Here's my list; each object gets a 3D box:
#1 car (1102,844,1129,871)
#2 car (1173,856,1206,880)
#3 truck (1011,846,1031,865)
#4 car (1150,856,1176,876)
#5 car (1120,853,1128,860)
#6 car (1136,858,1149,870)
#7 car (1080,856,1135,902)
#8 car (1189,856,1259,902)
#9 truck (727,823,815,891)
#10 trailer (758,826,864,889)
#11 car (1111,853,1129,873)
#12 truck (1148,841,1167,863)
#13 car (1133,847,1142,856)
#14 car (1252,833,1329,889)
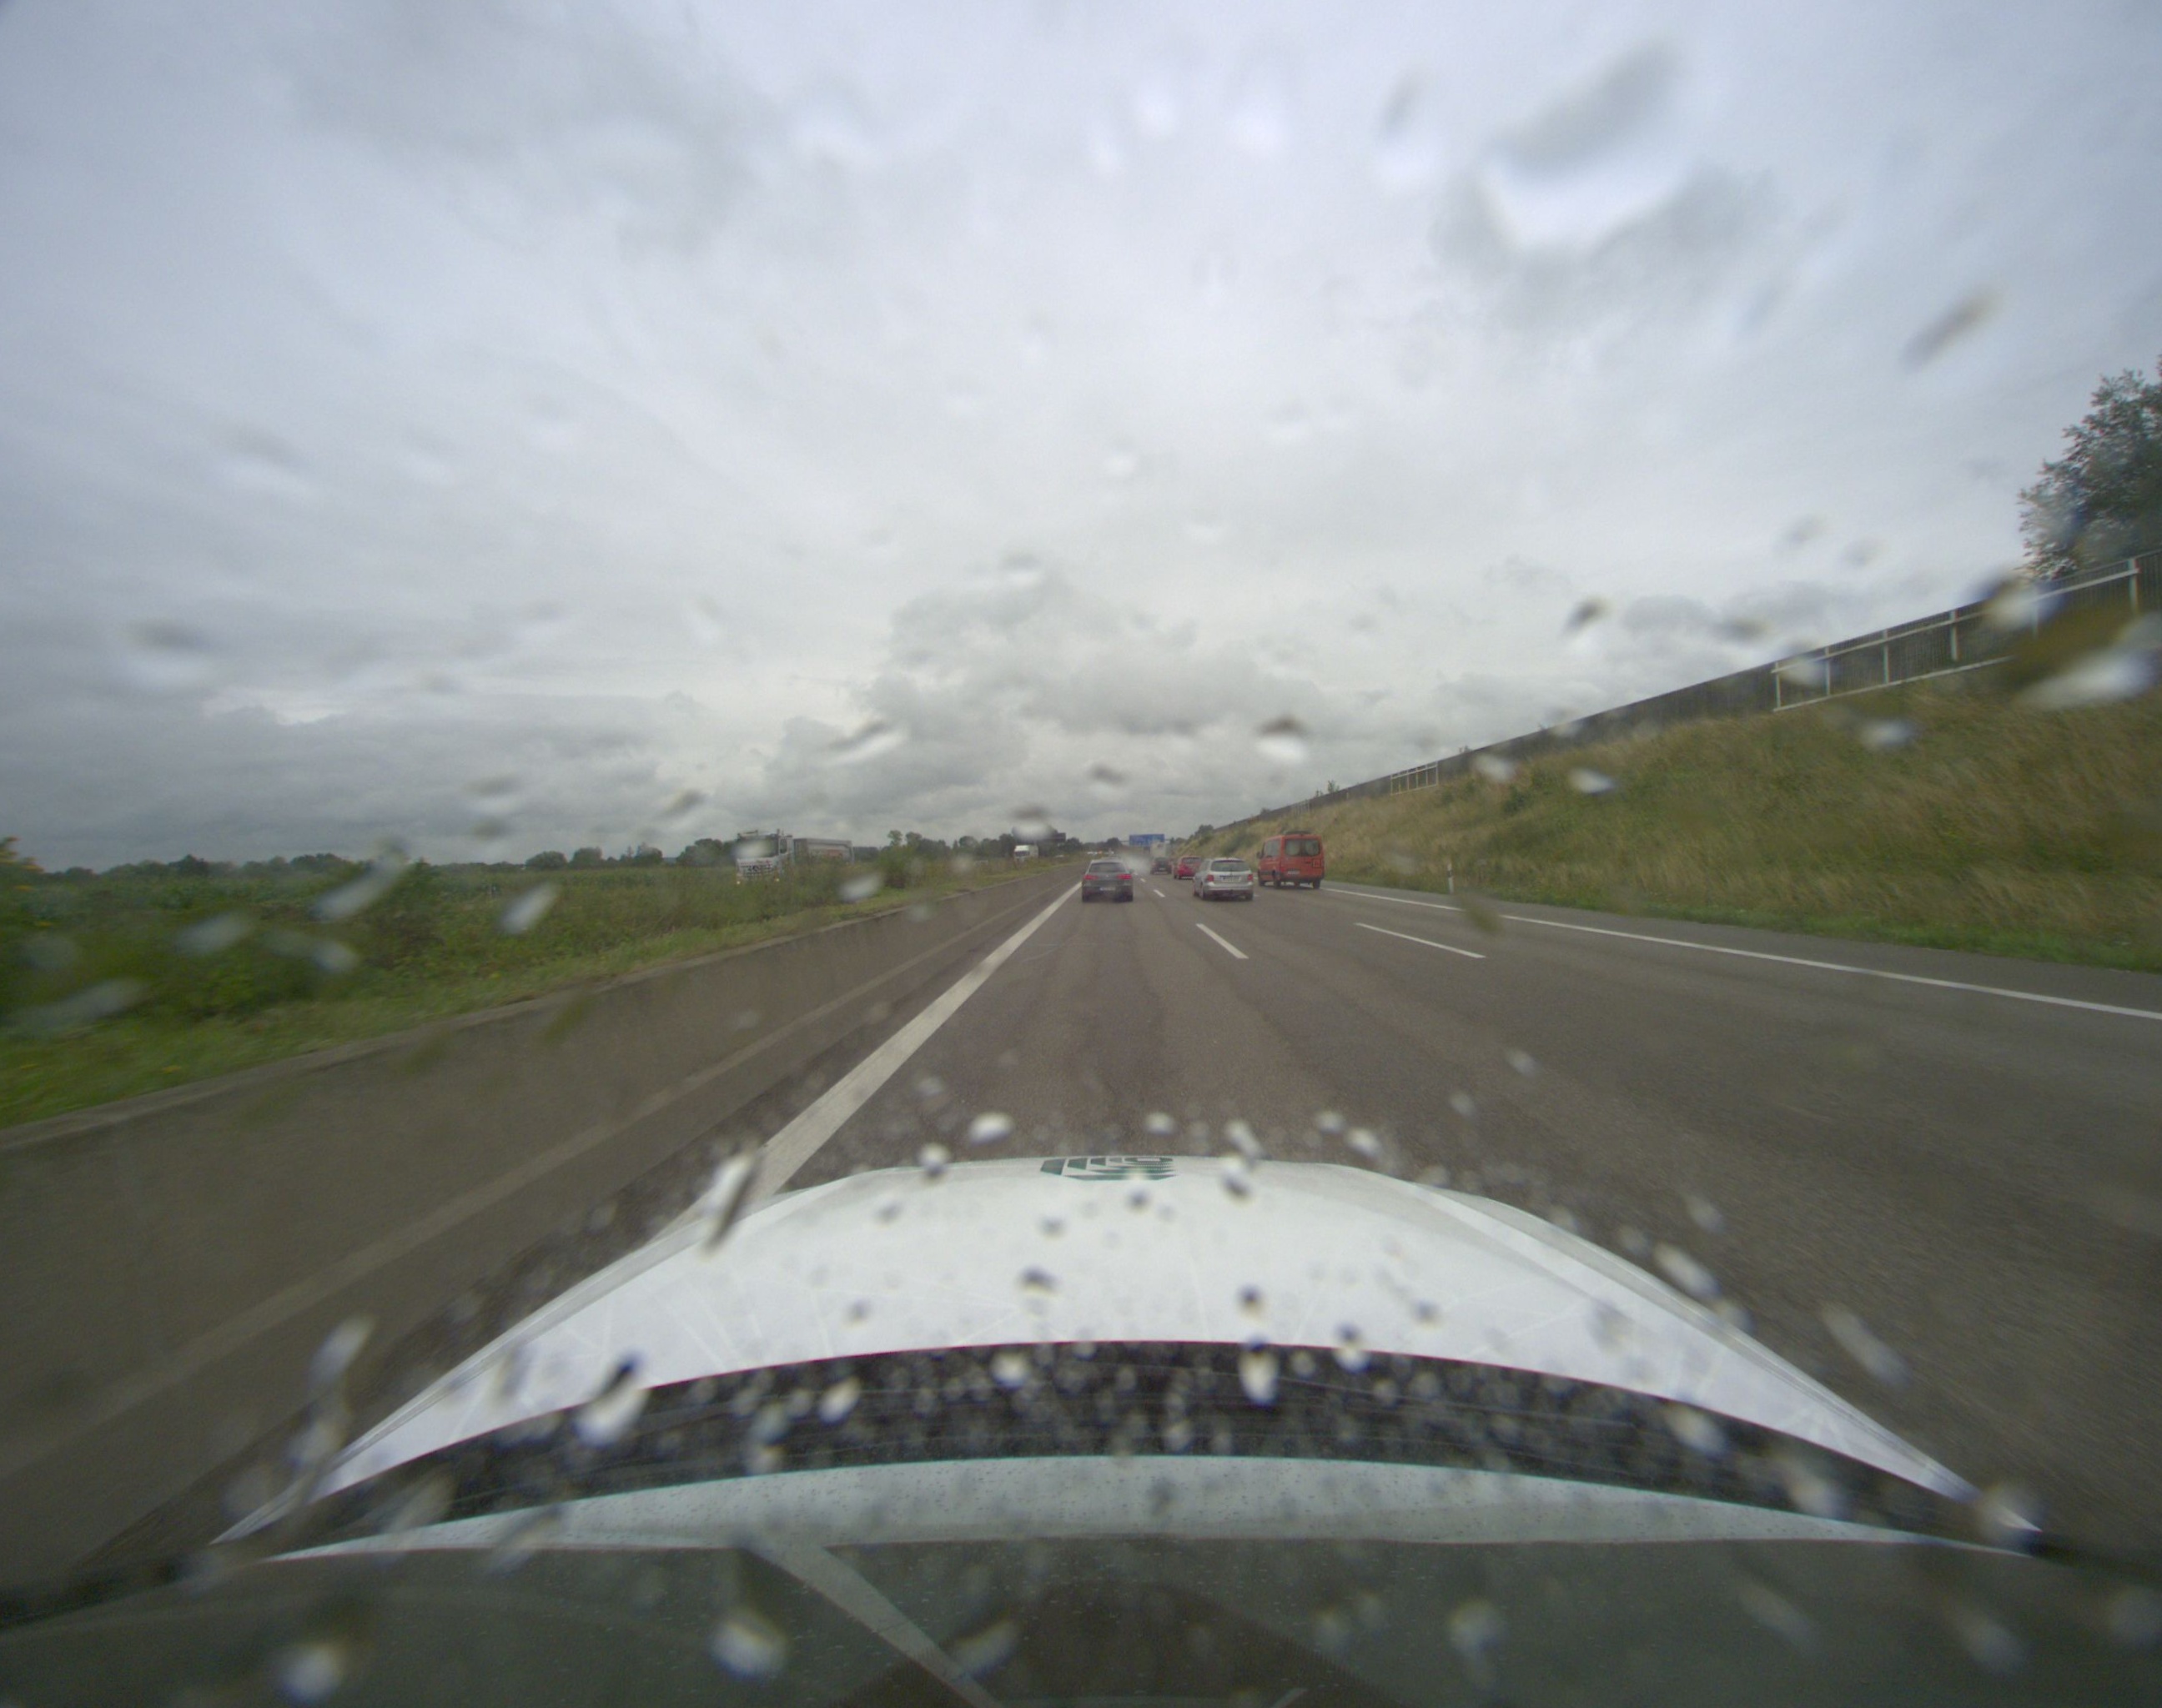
[{"bbox_3d":[2.415,0.264,56.036,1.746,1.750,4.004,0,-1,4],"label":"car"},{"bbox_3d":[7.087,0.895,53.579,1.882,1.446,4.690,-1,0,4],"label":"car"},{"bbox_3d":[-10.863,0.252,148.617,2.958,3.428,5.630,0,-1,2],"label":"truck"},{"bbox_3d":[6.856,0.993,68.761,1.913,1.522,4.625,-1,0,2],"label":"car"},{"bbox_3d":[11.063,0.703,209.722,1.986,1.813,4.599,-1,0,2],"label":"car"},{"bbox_3d":[9.241,1.472,122.919,1.838,1.687,4.001,0,-1,2],"label":"car"},{"bbox_3d":[0.989,0.833,28.427,1.761,1.467,4.003,0,-1,3],"label":"car"},{"bbox_3d":[4.972,0.827,28.873,1.735,1.425,4.518,-2,0,1],"label":"car"},{"bbox_3d":[-16.027,0.181,42.468,2.745,3.344,4.522,0,-1,2],"label":"truck"},{"bbox_3d":[-15.817,0.230,48.689,2.776,3.328,9.930,0,-1,2],"label":"trailer"},{"bbox_3d":[3.894,0.896,81.350,1.697,1.796,3.858,-3,0,3],"label":"car"},{"bbox_3d":[15.453,-0.340,165.579,3.269,4.295,19.052,0,0,4],"label":"truck"},{"bbox_3d":[13.620,-0.536,195.549,1.986,2.013,4.002,-2,0,2],"label":"car"},{"bbox_3d":[9.510,0.302,37.471,2.078,2.315,6.184,-1,0,2],"label":"car"}]
